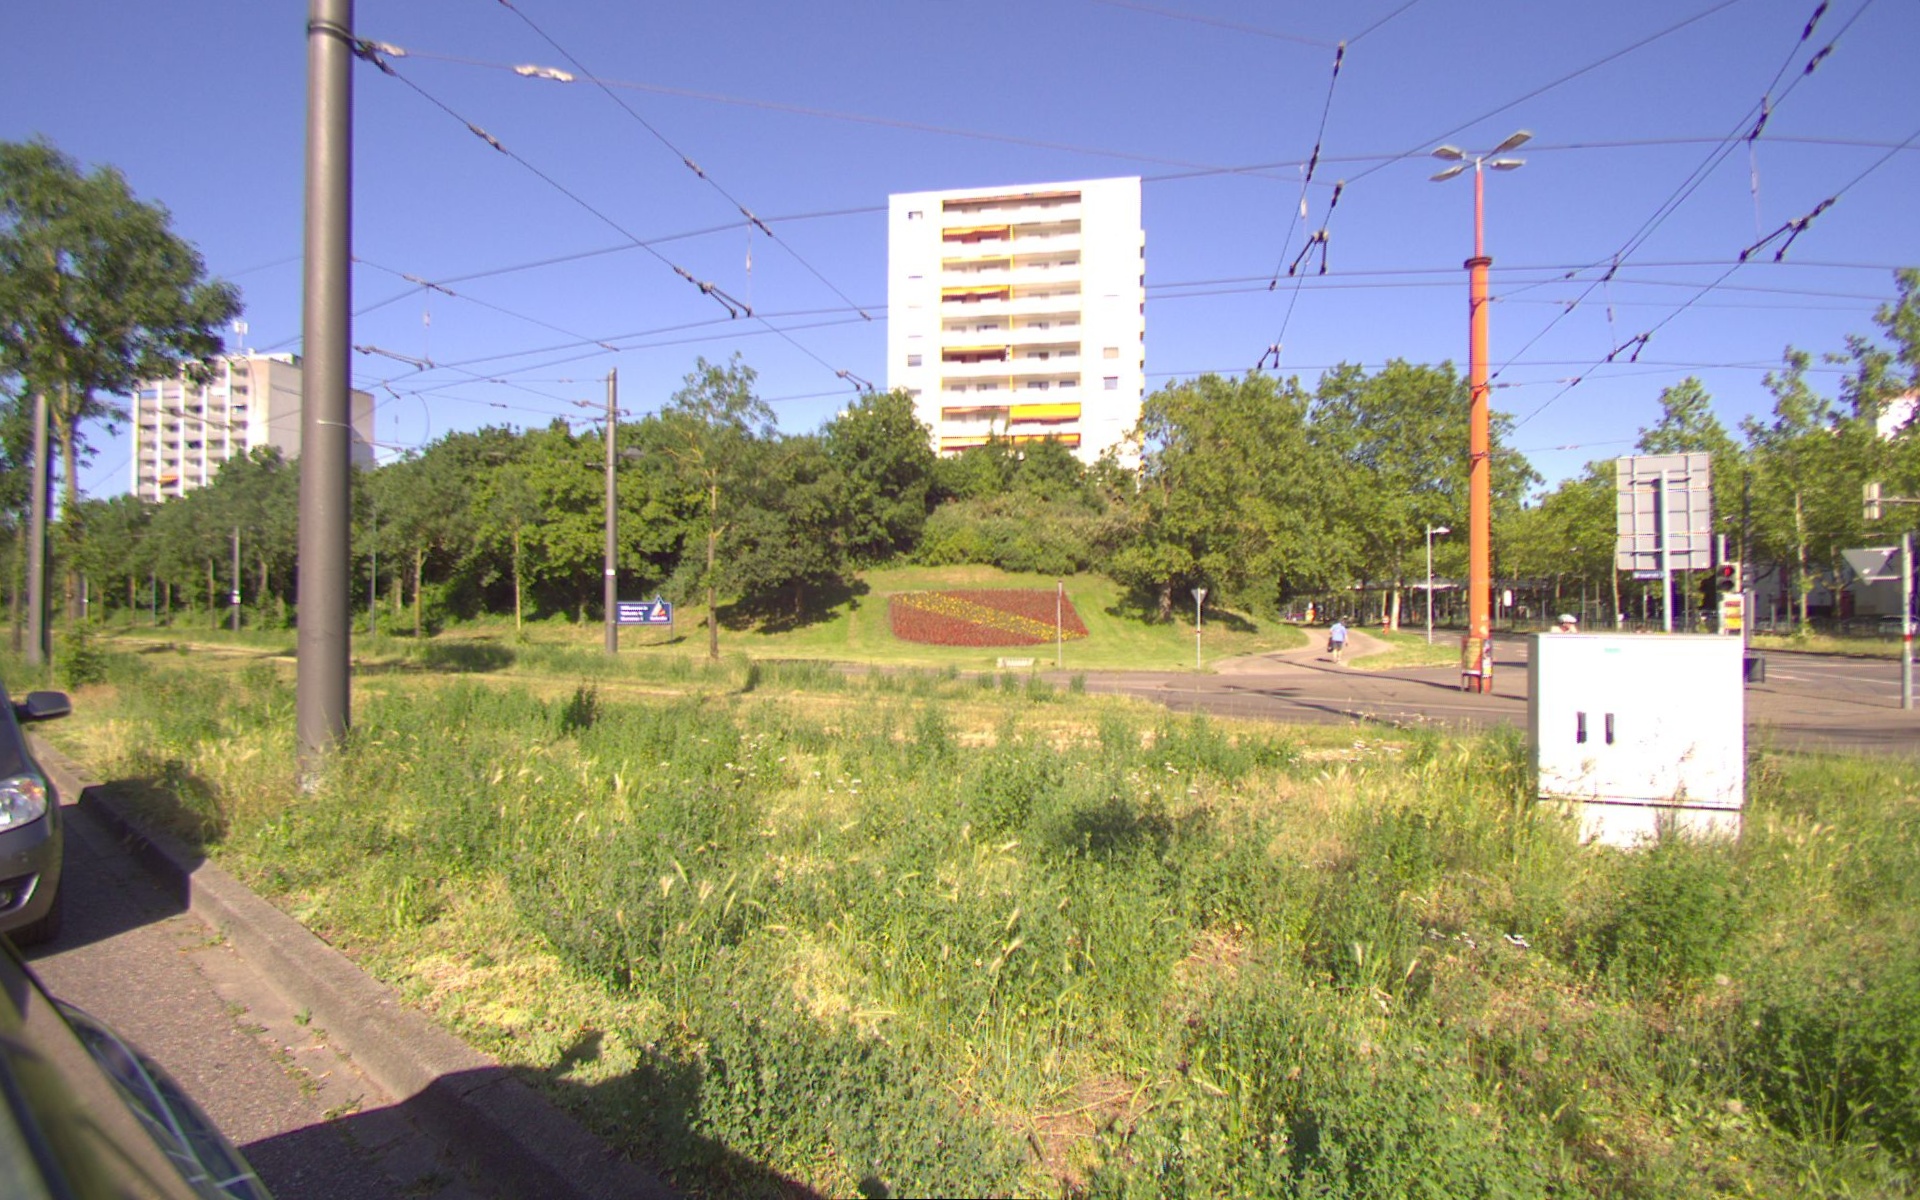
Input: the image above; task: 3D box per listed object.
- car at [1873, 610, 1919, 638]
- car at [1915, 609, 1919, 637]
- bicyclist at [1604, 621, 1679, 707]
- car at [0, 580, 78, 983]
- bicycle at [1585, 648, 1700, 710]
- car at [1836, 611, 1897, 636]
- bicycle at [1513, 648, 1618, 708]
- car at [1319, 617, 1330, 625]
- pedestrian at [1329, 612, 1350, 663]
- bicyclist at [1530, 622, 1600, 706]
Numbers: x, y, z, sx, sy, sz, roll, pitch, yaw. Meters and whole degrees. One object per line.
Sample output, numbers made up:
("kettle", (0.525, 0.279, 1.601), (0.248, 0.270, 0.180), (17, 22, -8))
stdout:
("car", (65.260, 1.647, 69.846), (3.931, 1.829, 2.006), (1, -2, -27))
("car", (64.417, 1.510, 65.883), (3.931, 1.829, 2.006), (1, -2, -27))
("bicyclist", (13.362, 1.242, 19.866), (0.920, 1.650, 0.741), (0, -1, -1))
("car", (-5.933, 0.755, 5.028), (4.382, 1.619, 1.754), (-1, -2, 41))
("bicycle", (13.366, 1.522, 19.899), (0.915, 1.095, 1.888), (0, -1, -2))
("car", (66.028, 1.704, 73.742), (3.931, 1.829, 2.006), (1, -2, -27))
("bicycle", (12.100, 1.537, 20.301), (0.915, 1.095, 1.888), (0, -1, -2))
("car", (74.328, 4.189, 206.465), (1.928, 1.606, 3.882), (-1, -1, 20))
("pedestrian", (14.767, 1.460, 39.356), (0.729, 1.949, 0.726), (-1, -2, 24))
("bicyclist", (12.105, 1.260, 20.284), (0.920, 1.650, 0.741), (0, -1, -1))
